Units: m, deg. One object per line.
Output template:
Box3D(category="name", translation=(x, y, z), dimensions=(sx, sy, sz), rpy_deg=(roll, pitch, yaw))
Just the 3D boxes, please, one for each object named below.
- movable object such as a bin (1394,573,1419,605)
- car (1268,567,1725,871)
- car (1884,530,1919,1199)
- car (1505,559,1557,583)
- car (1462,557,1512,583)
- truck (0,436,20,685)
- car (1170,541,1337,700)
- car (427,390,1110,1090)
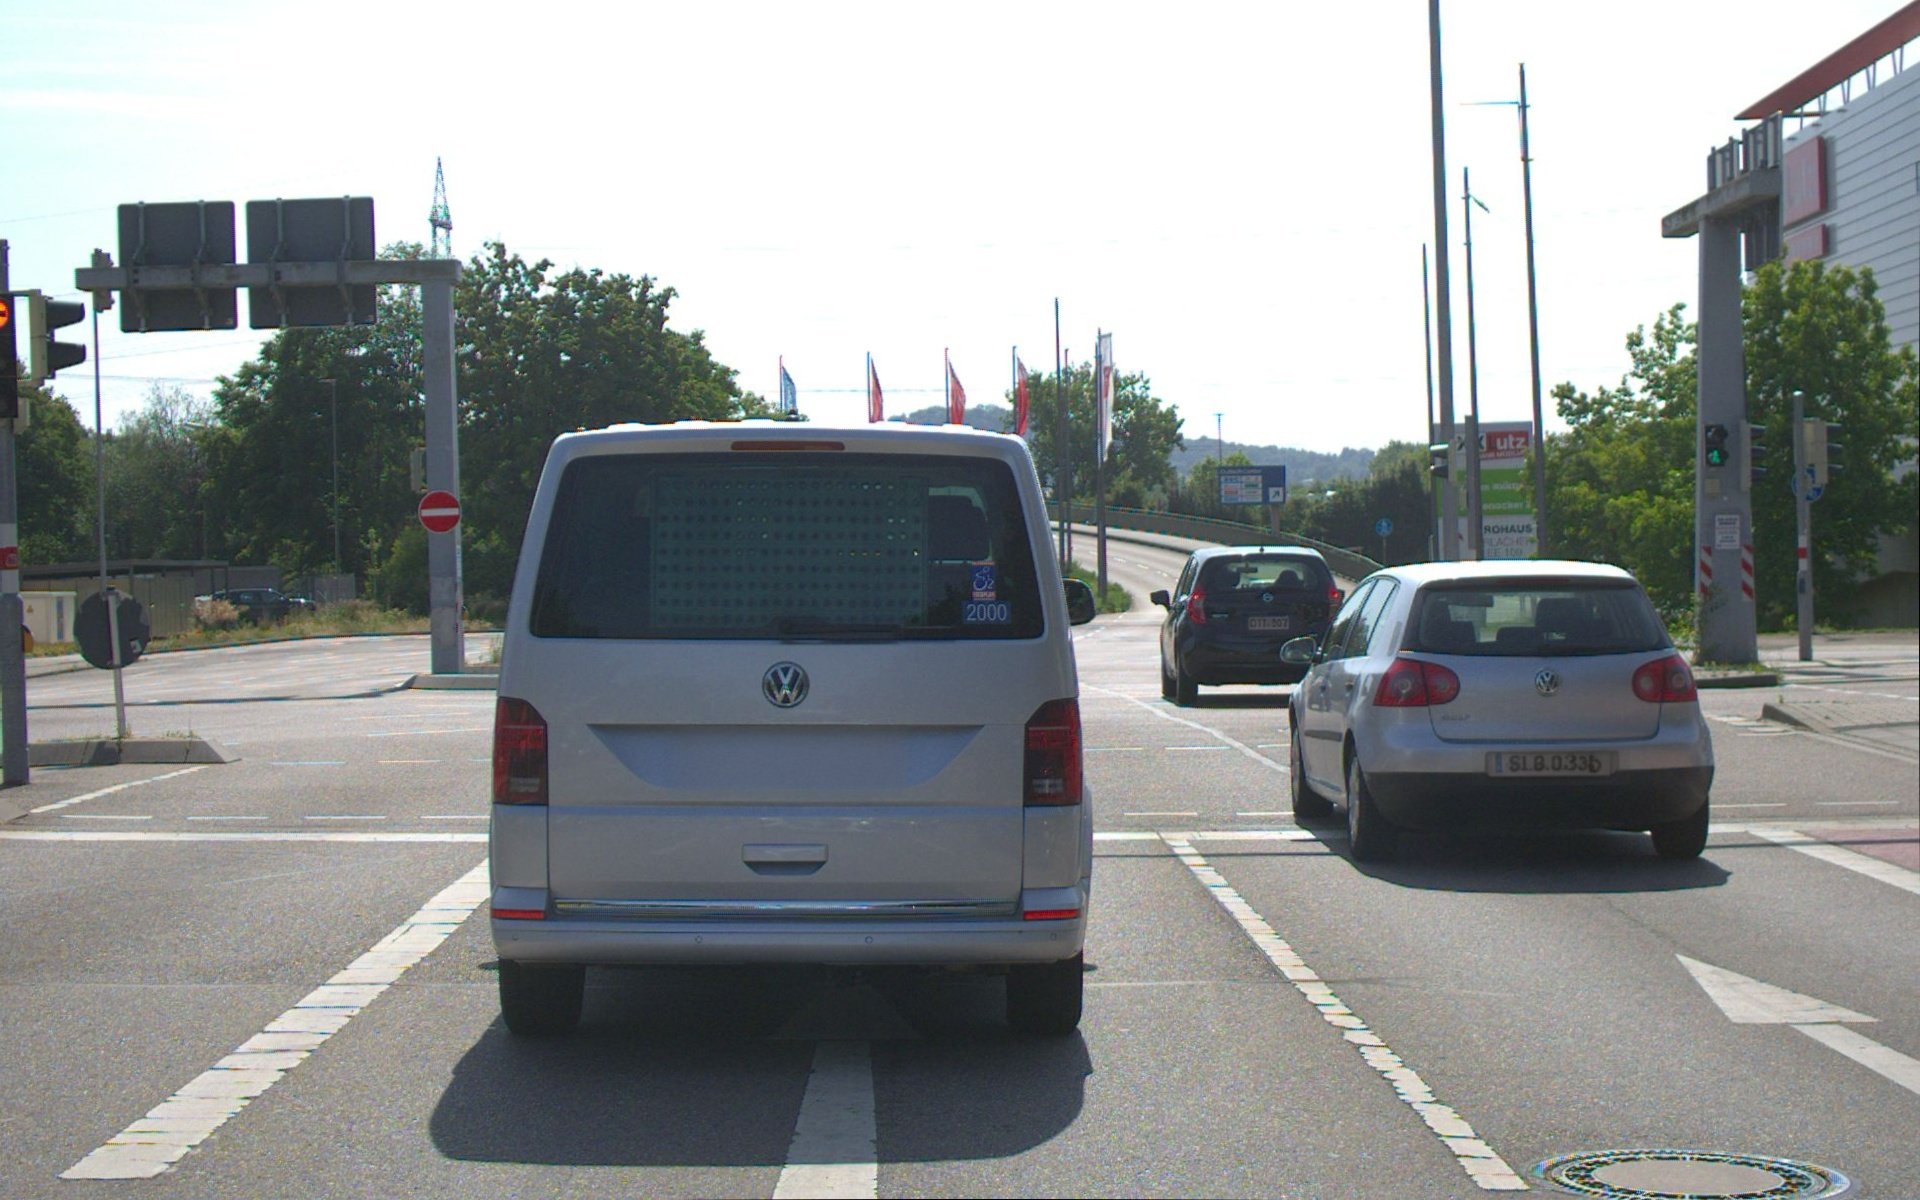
Box3D(category="movable object such as a bin", translation=(15.970, -0.385, 122.926), dimensions=(0.810, 1.109, 1.182), rpy_deg=(-1, 1, 4))
Box3D(category="car", translation=(2.671, 0.536, 17.881), dimensions=(1.666, 1.409, 3.683), rpy_deg=(0, 1, -2))
Box3D(category="car", translation=(2.896, 0.666, 5.213), dimensions=(1.773, 1.533, 4.138), rpy_deg=(0, 1, -1))
Box3D(category="car", translation=(35.386, -1.789, 213.282), dimensions=(1.993, 1.415, 4.001), rpy_deg=(1, 0, -9))
Box3D(category="car", translation=(32.668, -1.860, 213.252), dimensions=(1.883, 1.514, 4.001), rpy_deg=(1, 0, -9))
Box3D(category="truck", translation=(-15.245, -0.523, 48.121), dimensions=(2.746, 3.667, 7.581), rpy_deg=(-2, 1, -6))
Box3D(category="car", translation=(2.842, 0.170, 33.805), dimensions=(1.531, 1.475, 3.595), rpy_deg=(0, 1, 3))
Box3D(category="car", translation=(-0.566, 0.370, 11.850), dimensions=(1.917, 1.968, 4.297), rpy_deg=(0, 1, -1))
